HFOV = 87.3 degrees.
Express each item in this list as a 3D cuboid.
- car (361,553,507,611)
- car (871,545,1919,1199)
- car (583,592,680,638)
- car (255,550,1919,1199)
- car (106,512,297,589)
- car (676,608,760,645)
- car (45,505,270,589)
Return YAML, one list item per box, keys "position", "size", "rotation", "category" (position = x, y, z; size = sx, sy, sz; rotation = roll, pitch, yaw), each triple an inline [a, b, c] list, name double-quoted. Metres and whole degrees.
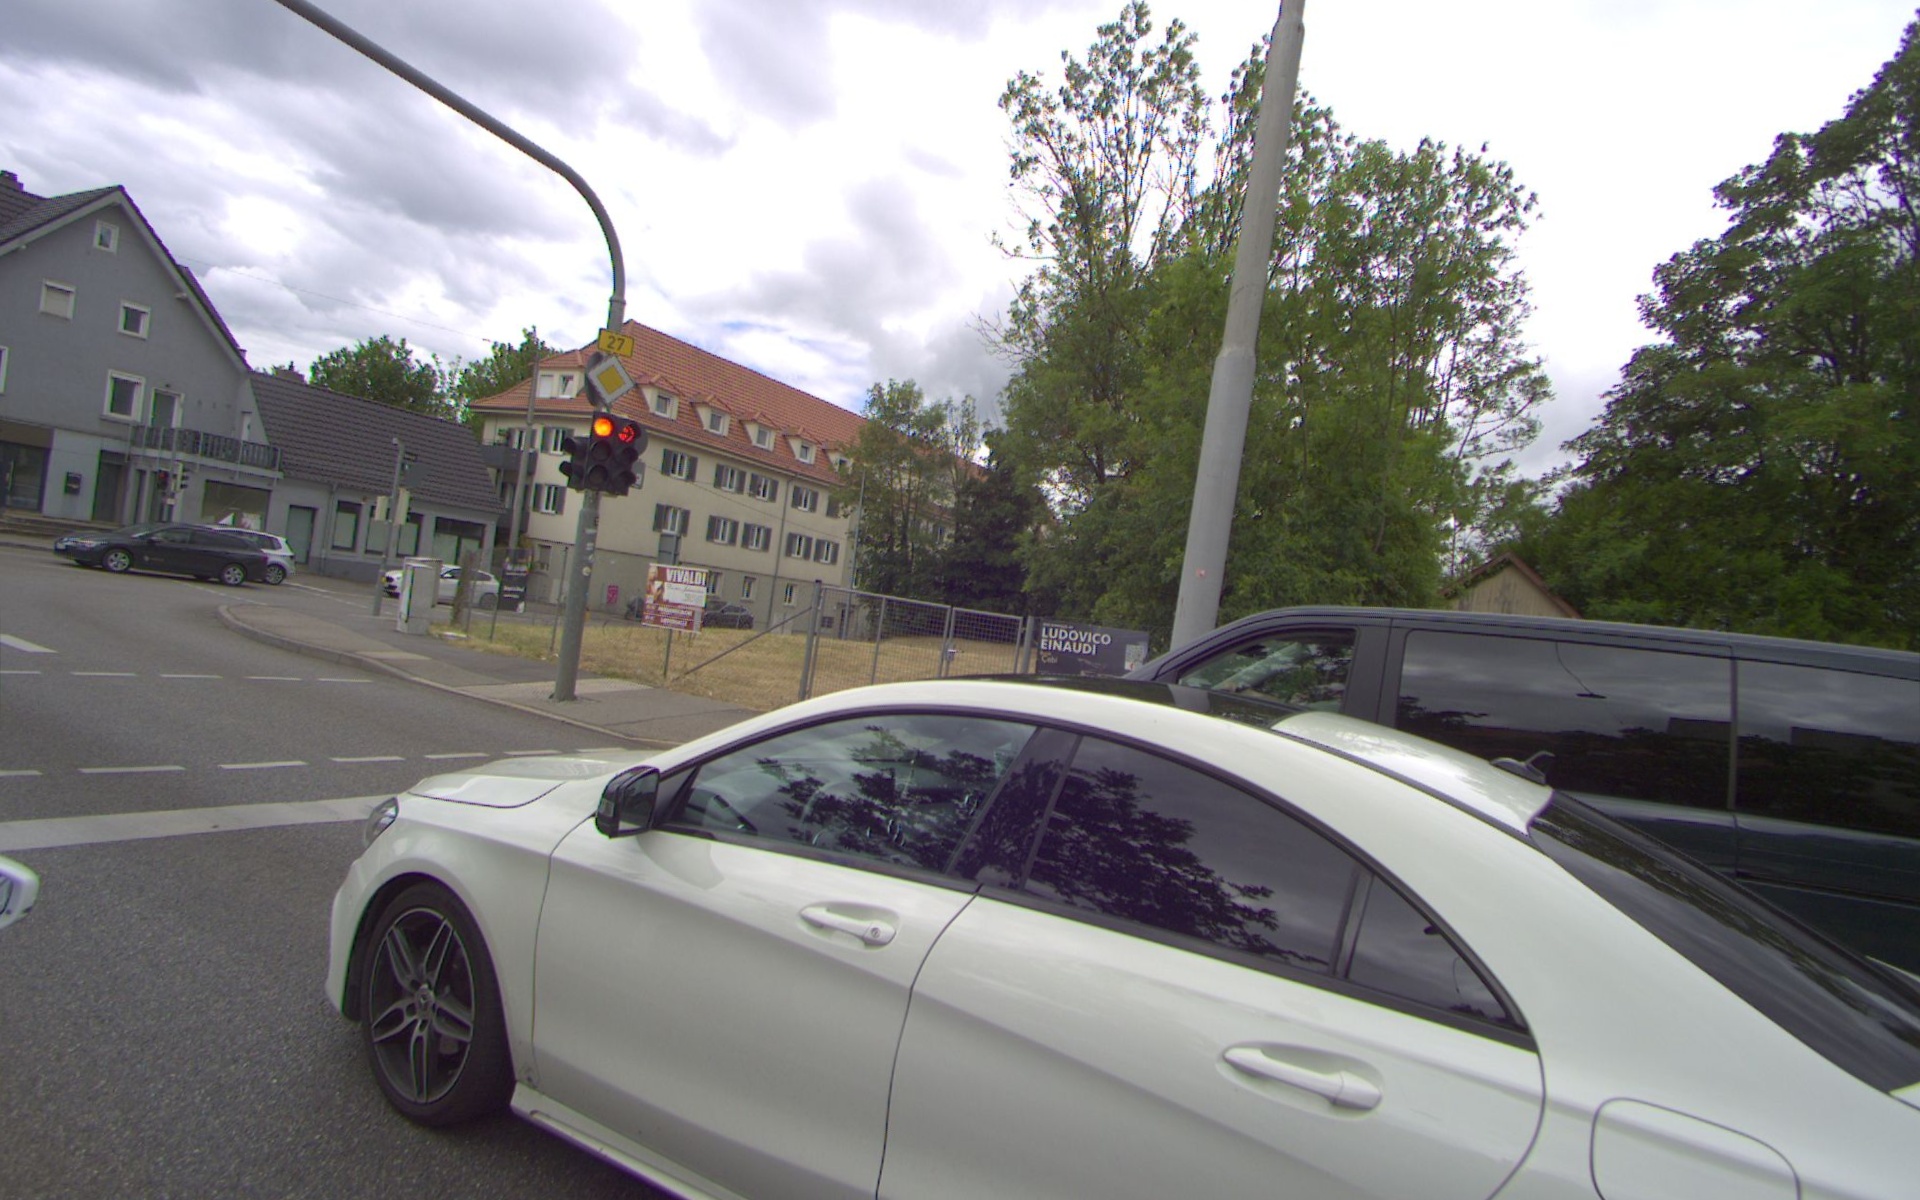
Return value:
- position: [-19.345, -0.637, 37.136]
  size: [1.968, 1.494, 4.249]
  rotation: [7, -2, 33]
  category: "car"
- position: [2.115, 0.978, 4.774]
  size: [4.631, 1.860, 1.953]
  rotation: [7, -2, 32]
  category: "car"
- position: [-15.521, 0.736, 47.661]
  size: [1.839, 1.554, 3.996]
  rotation: [7, -2, 32]
  category: "car"
- position: [0.160, 0.845, 2.641]
  size: [4.305, 1.451, 1.651]
  rotation: [7, 0, 32]
  category: "car"
- position: [-22.719, -1.443, 30.305]
  size: [1.797, 1.557, 4.113]
  rotation: [7, -3, 28]
  category: "car"
- position: [-12.626, 1.398, 52.649]
  size: [1.839, 1.393, 3.996]
  rotation: [7, -2, 32]
  category: "car"
- position: [-21.294, -1.356, 26.902]
  size: [1.685, 1.498, 4.285]
  rotation: [8, -1, 29]
  category: "car"
